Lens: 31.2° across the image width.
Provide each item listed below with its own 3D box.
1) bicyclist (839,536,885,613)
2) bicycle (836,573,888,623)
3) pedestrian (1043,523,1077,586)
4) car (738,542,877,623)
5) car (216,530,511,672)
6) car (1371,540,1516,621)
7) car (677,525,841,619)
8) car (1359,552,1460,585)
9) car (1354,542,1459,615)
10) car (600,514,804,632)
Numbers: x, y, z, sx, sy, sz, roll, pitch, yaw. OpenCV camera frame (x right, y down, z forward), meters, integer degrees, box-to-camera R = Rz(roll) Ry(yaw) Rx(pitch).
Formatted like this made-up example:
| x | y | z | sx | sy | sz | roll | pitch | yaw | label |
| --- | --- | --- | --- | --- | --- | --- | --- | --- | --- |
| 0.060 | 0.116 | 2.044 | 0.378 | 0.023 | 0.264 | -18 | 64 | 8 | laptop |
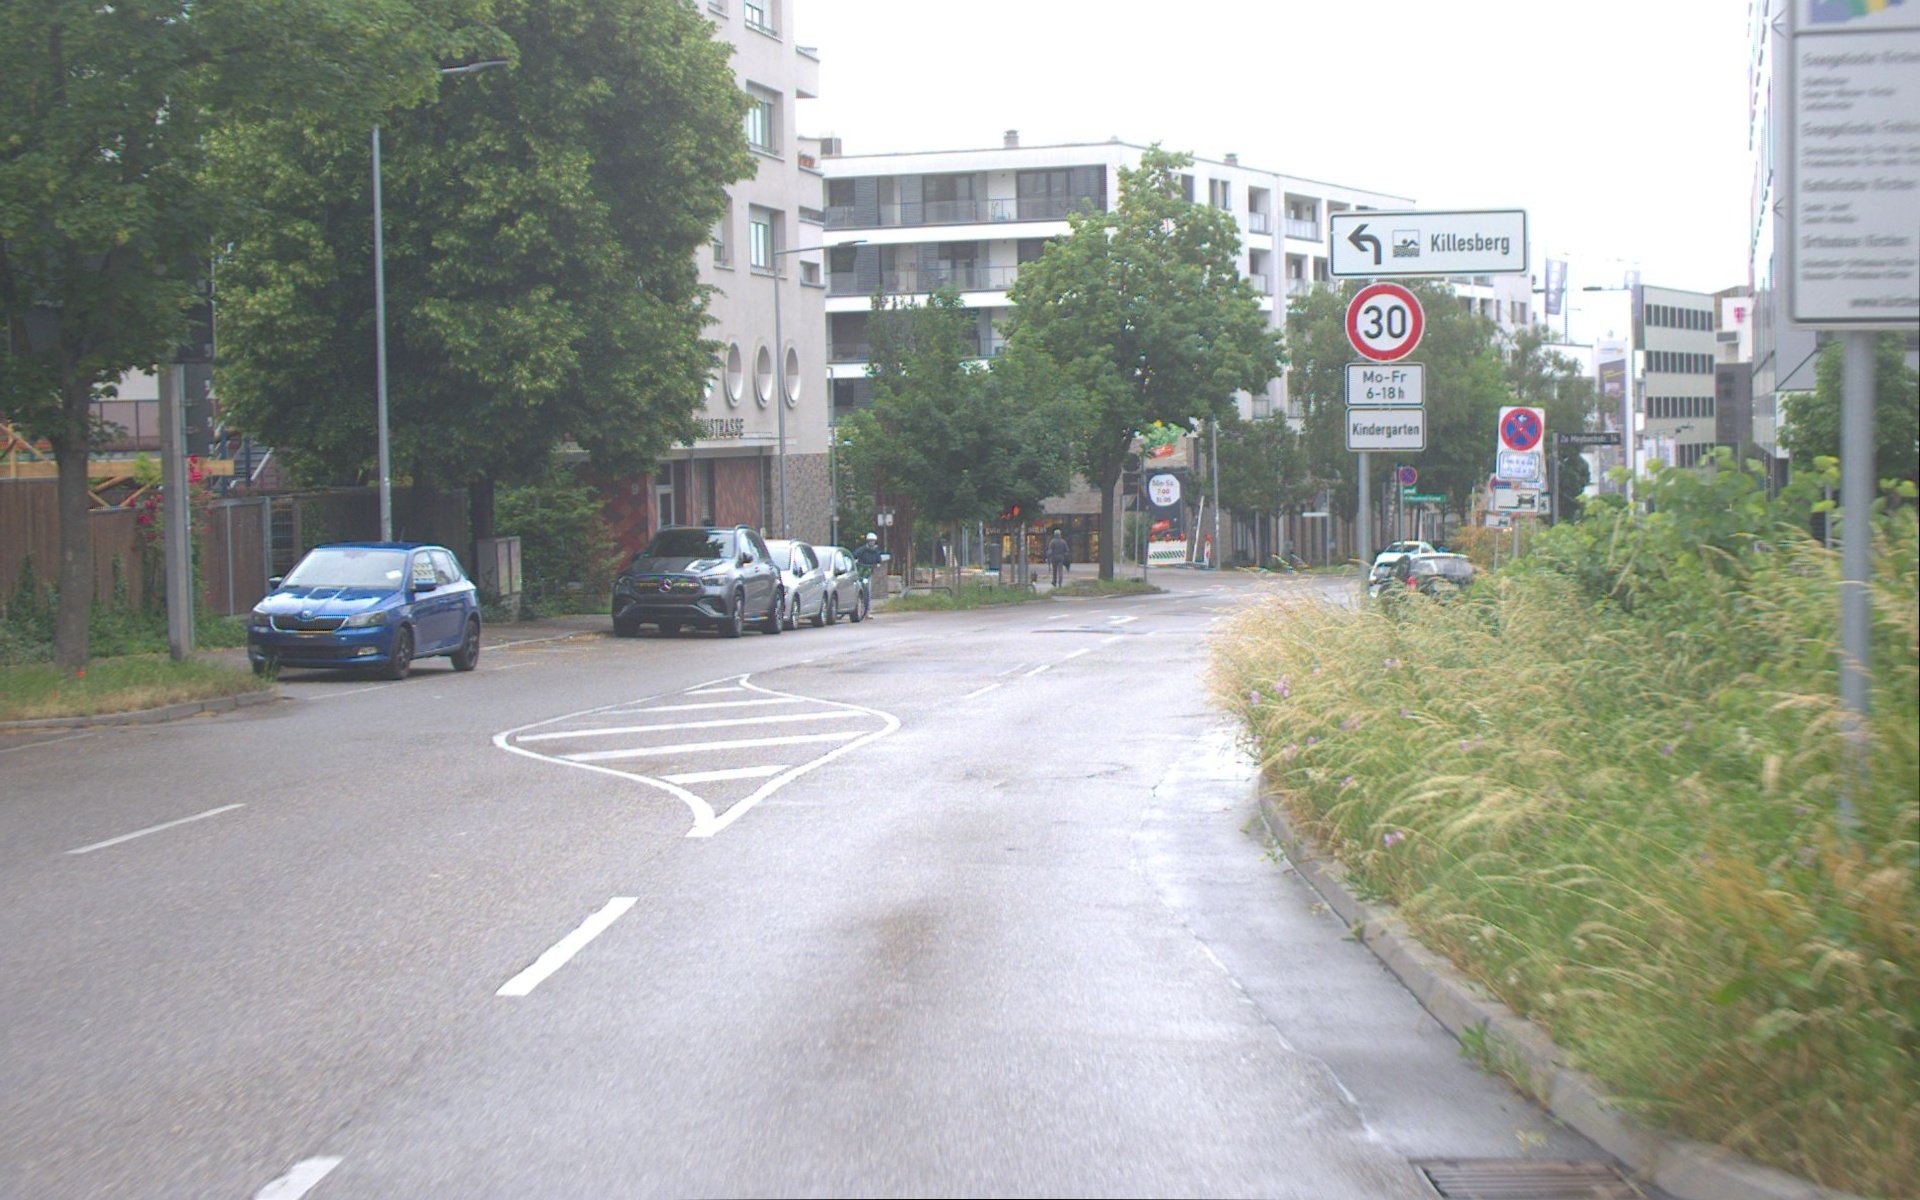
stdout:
| x | y | z | sx | sy | sz | roll | pitch | yaw | label |
| --- | --- | --- | --- | --- | --- | --- | --- | --- | --- |
| -1.953 | -0.516 | 68.774 | 0.801 | 1.517 | 1.202 | 1 | 1 | 3 | bicyclist |
| -1.956 | -0.047 | 68.834 | 0.802 | 0.975 | 2.254 | 1 | 1 | 4 | bicycle |
| 3.212 | -1.474 | 110.595 | 1.055 | 2.007 | 1.099 | 1 | 1 | 2 | pedestrian |
| -2.874 | -0.344 | 65.482 | 1.880 | 1.458 | 3.846 | 1 | 1 | 9 | car |
| -6.540 | -0.013 | 38.161 | 1.994 | 1.465 | 4.184 | 1 | 1 | 8 | car |
| 9.268 | -0.400 | 66.226 | 2.044 | 1.453 | 4.056 | 1 | 1 | -2 | car |
| -3.524 | -0.503 | 61.058 | 1.990 | 1.587 | 4.488 | 1 | 1 | 9 | car |
| 18.347 | -1.294 | 140.181 | 1.998 | 1.288 | 4.692 | 1 | 1 | 38 | car |
| 9.444 | -0.479 | 72.502 | 2.040 | 1.459 | 4.501 | 1 | 1 | 9 | car |
| -4.063 | -0.443 | 55.081 | 1.994 | 1.780 | 5.408 | 1 | 1 | 10 | car |
